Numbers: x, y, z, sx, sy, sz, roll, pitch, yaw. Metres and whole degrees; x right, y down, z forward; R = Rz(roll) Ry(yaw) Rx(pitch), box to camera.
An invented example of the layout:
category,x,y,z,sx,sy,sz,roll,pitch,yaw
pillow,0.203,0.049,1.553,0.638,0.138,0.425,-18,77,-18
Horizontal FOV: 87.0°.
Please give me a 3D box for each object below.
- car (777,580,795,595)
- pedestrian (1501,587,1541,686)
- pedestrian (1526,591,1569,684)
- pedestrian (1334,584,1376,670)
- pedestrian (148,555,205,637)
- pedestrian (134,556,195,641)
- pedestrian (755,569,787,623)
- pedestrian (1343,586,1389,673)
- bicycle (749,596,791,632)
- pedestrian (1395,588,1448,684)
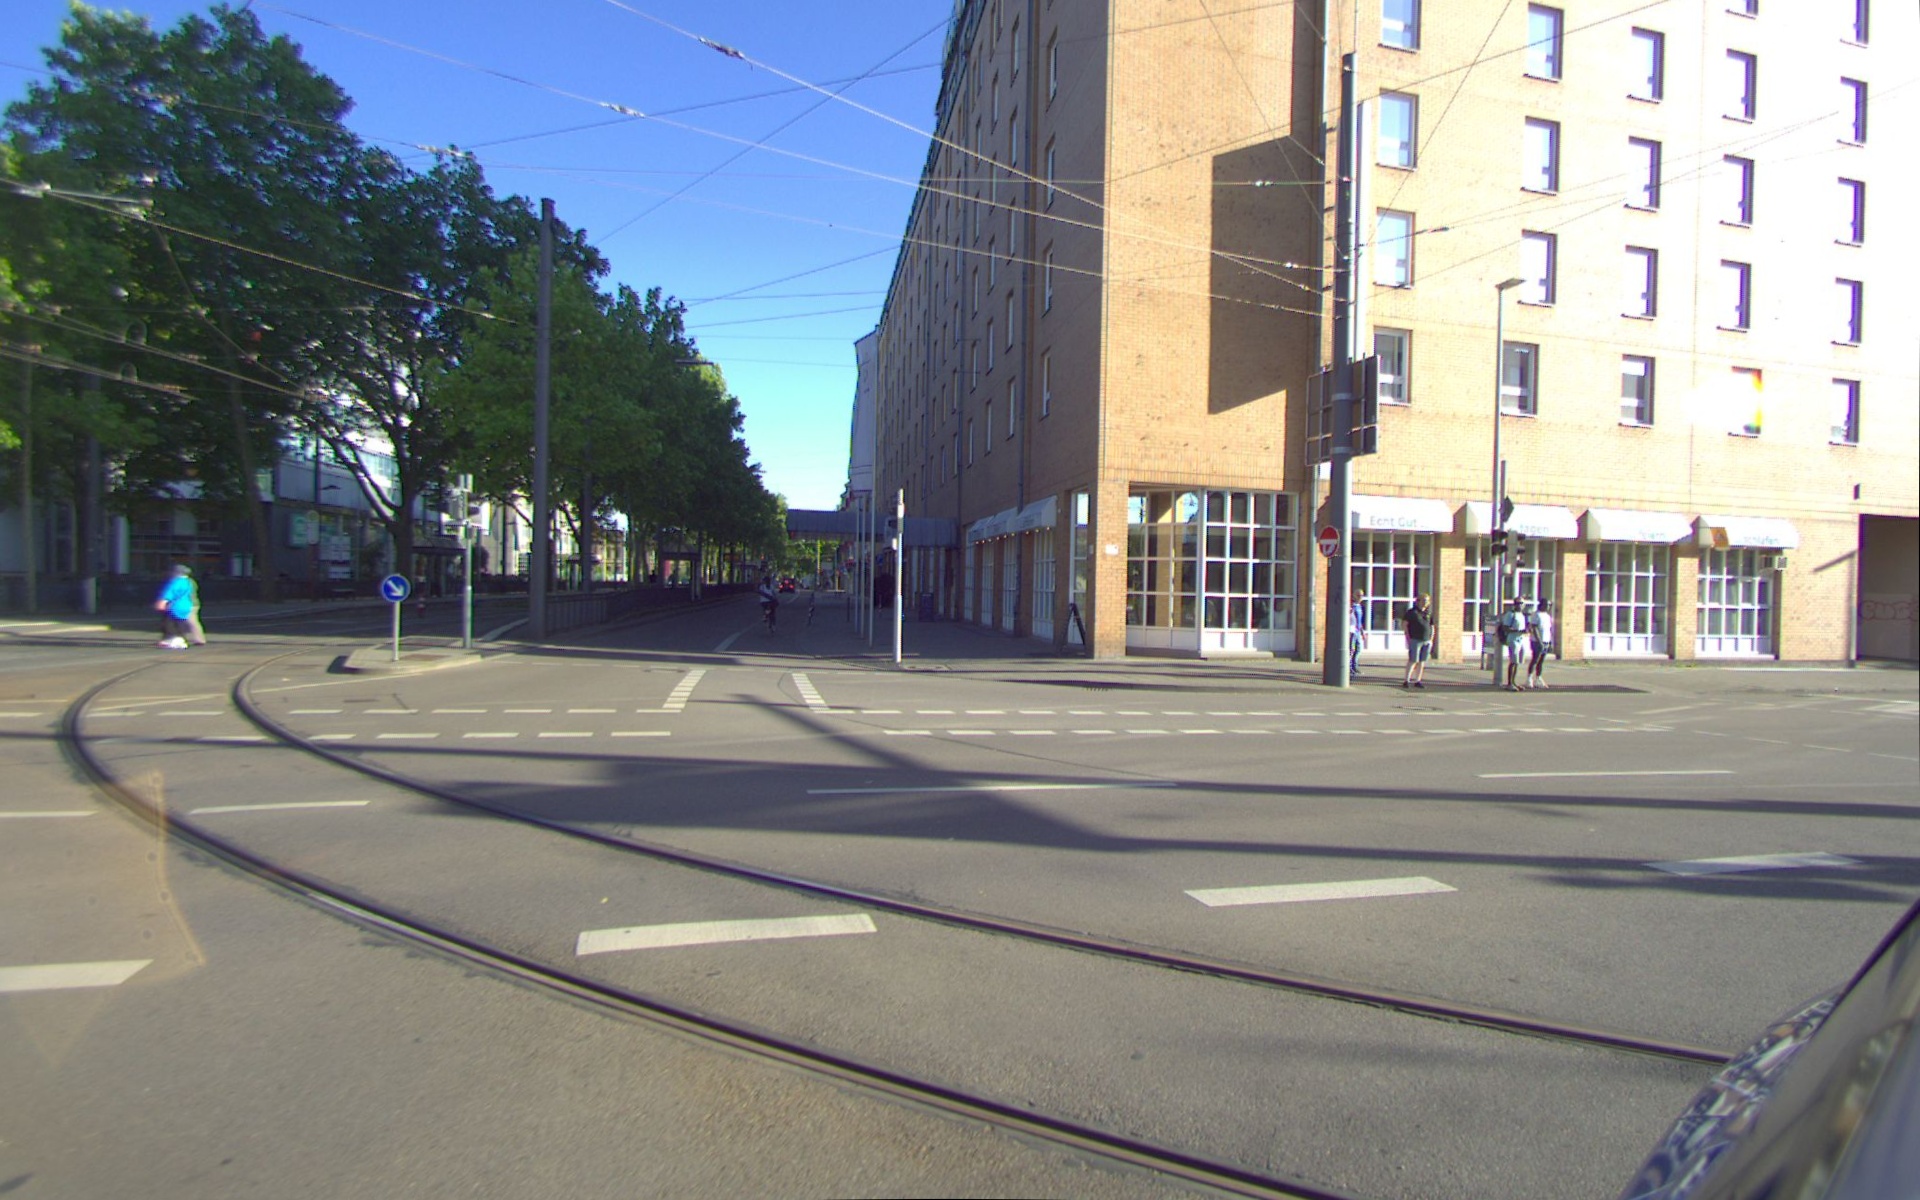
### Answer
category,x,y,z,sx,sy,sz,roll,pitch,yaw
car,-21.270,-1.541,123.938,1.887,1.690,3.761,2,0,-6
pedestrian,10.838,0.689,19.550,0.496,1.855,0.723,2,3,39
pedestrian,11.660,0.739,20.086,0.570,1.796,0.404,1,2,10
pedestrian,8.204,0.553,21.046,0.590,1.749,0.604,0,-1,-8
pedestrian,-15.210,-0.081,19.656,0.727,1.559,0.653,0,-1,-23
pedestrian,-14.885,-0.033,18.950,0.727,1.559,0.678,0,-1,-23
pedestrian,-5.701,-0.110,30.521,0.758,1.614,0.837,0,-1,5
pedestrian,8.198,0.585,20.427,0.645,1.725,0.564,0,-1,-13
bicycle,-5.712,0.408,30.524,0.778,1.065,1.920,0,0,5
pedestrian,8.759,0.677,19.208,0.680,1.790,0.575,1,-1,-13
